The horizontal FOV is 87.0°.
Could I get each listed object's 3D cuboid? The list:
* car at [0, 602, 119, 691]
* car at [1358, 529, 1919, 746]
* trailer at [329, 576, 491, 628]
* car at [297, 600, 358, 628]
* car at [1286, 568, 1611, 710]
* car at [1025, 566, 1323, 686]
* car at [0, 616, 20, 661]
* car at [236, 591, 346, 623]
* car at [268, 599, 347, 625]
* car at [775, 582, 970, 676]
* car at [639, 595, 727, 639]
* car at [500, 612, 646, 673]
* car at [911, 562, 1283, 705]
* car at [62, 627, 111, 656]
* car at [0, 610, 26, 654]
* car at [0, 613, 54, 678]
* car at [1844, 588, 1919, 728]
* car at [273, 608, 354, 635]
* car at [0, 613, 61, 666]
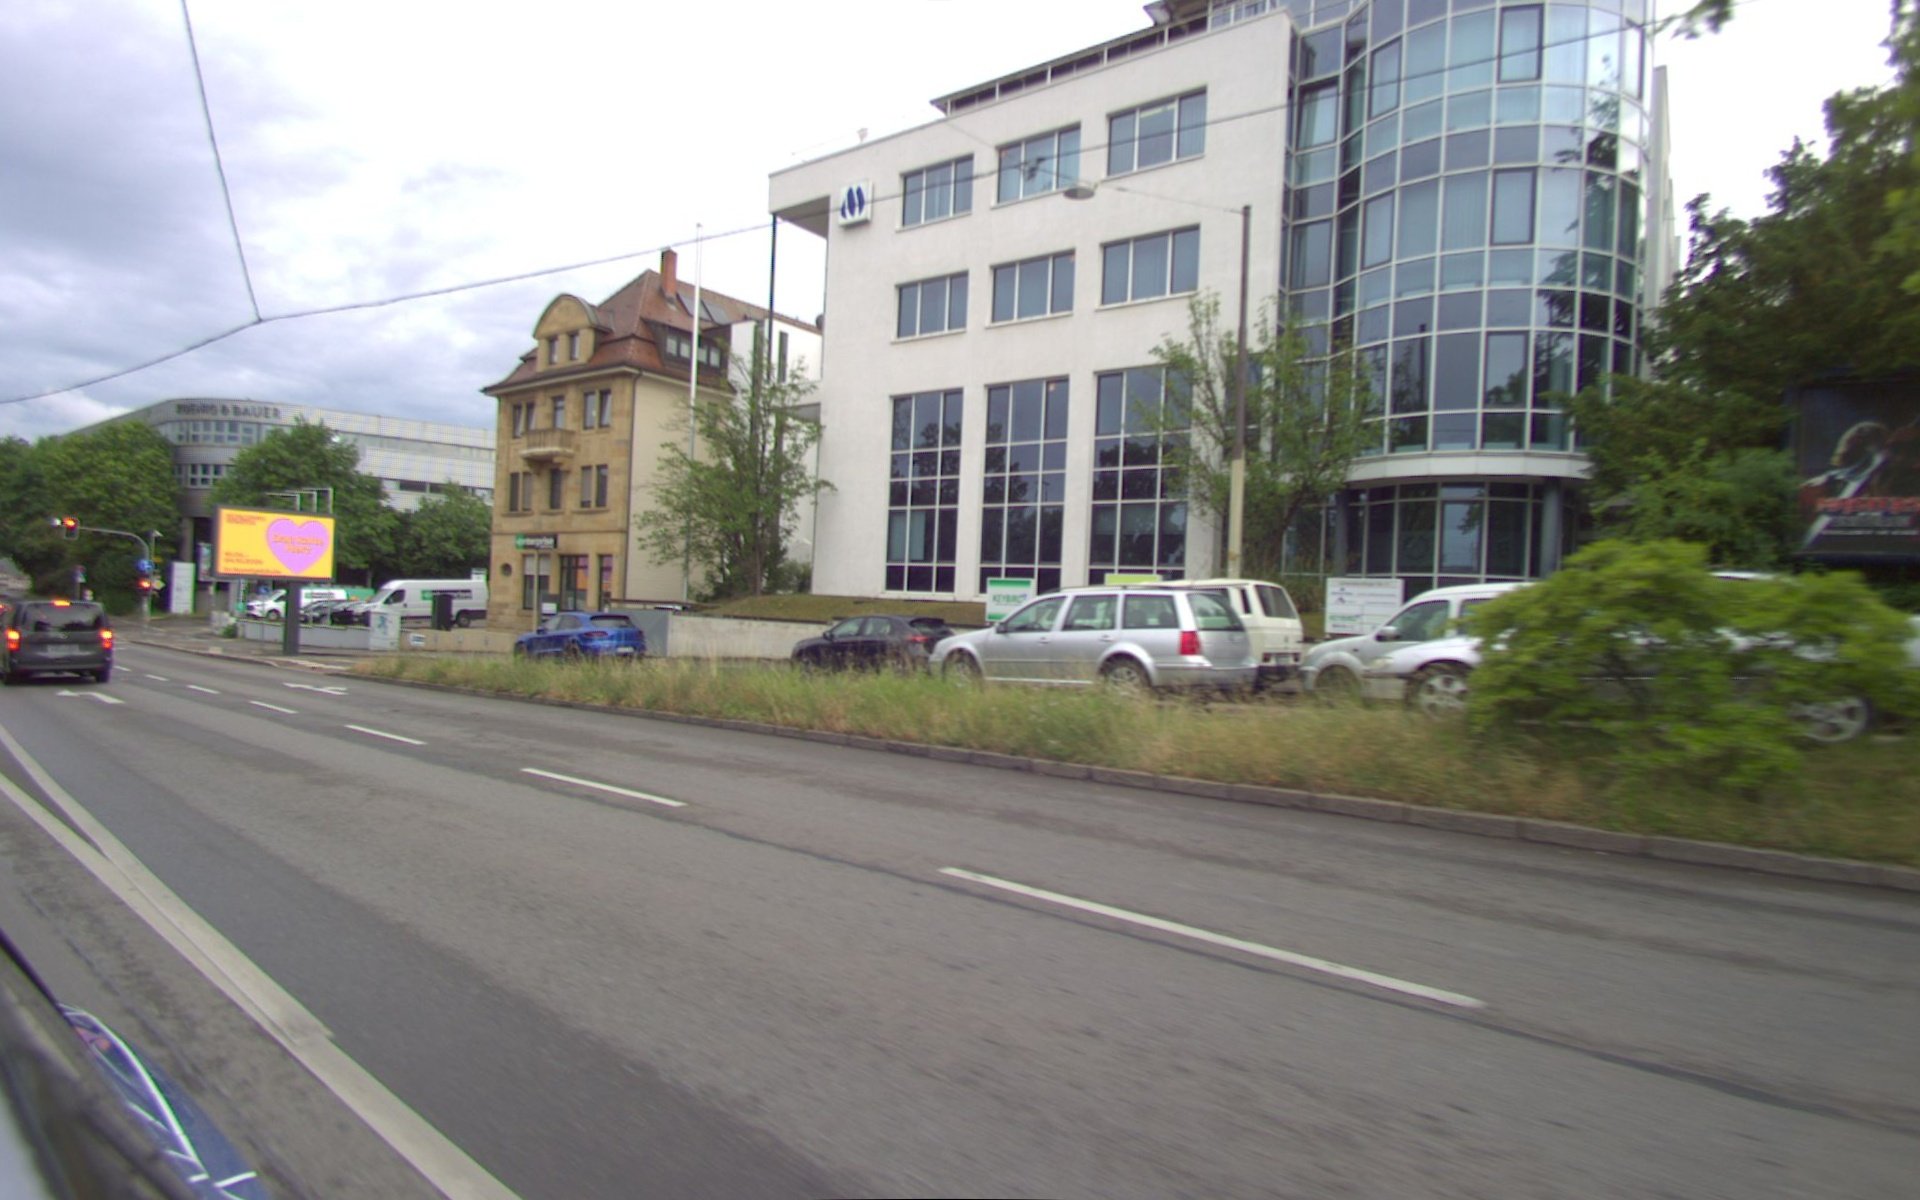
[{"bbox_3d":[-21.572,1.039,23.814,5.040,1.881,1.993,-1,-2,42],"label":"car"},{"bbox_3d":[5.866,0.347,9.076,3.988,1.552,1.576,-2,-3,39],"label":"car"},{"bbox_3d":[-28.670,0.159,53.000,2.394,2.446,7.024,2,-1,40],"label":"trailer"},{"bbox_3d":[-35.023,0.769,56.061,1.227,1.435,2.650,1,2,41],"label":"car"},{"bbox_3d":[6.669,0.547,14.017,3.777,1.709,1.576,-2,-3,39],"label":"car"},{"bbox_3d":[3.459,0.472,16.920,4.579,1.759,1.753,-2,-3,39],"label":"car"},{"bbox_3d":[-38.271,1.478,39.549,4.440,1.542,1.787,2,-1,42],"label":"car"},{"bbox_3d":[-41.994,0.483,63.666,2.214,1.815,5.310,2,0,34],"label":"car"},{"bbox_3d":[-39.015,0.685,60.557,1.872,1.379,3.573,1,2,41],"label":"car"},{"bbox_3d":[-1.837,0.608,20.579,3.989,1.735,1.594,-2,-3,39],"label":"car"},{"bbox_3d":[-11.285,0.716,41.290,1.713,1.688,3.014,2,-1,37],"label":"car"},{"bbox_3d":[-10.692,1.180,27.814,4.667,1.546,1.671,-2,-3,39],"label":"car"},{"bbox_3d":[1.558,0.436,12.639,4.440,1.489,1.630,-2,-3,41],"label":"car"},{"bbox_3d":[-41.401,1.951,47.949,2.452,1.232,1.363,2,-1,41],"label":"car"},{"bbox_3d":[-42.479,1.354,44.291,5.169,1.832,1.913,0,-2,43],"label":"car"},{"bbox_3d":[-27.431,1.245,28.964,4.727,1.616,1.670,2,-1,42],"label":"car"},{"bbox_3d":[11.647,0.676,10.458,3.679,1.467,1.614,2,-1,39],"label":"car"},{"bbox_3d":[-37.056,1.192,58.077,1.741,1.379,3.573,1,2,41],"label":"car"},{"bbox_3d":[-32.019,1.293,34.231,4.625,1.710,1.933,-1,-2,43],"label":"car"}]
